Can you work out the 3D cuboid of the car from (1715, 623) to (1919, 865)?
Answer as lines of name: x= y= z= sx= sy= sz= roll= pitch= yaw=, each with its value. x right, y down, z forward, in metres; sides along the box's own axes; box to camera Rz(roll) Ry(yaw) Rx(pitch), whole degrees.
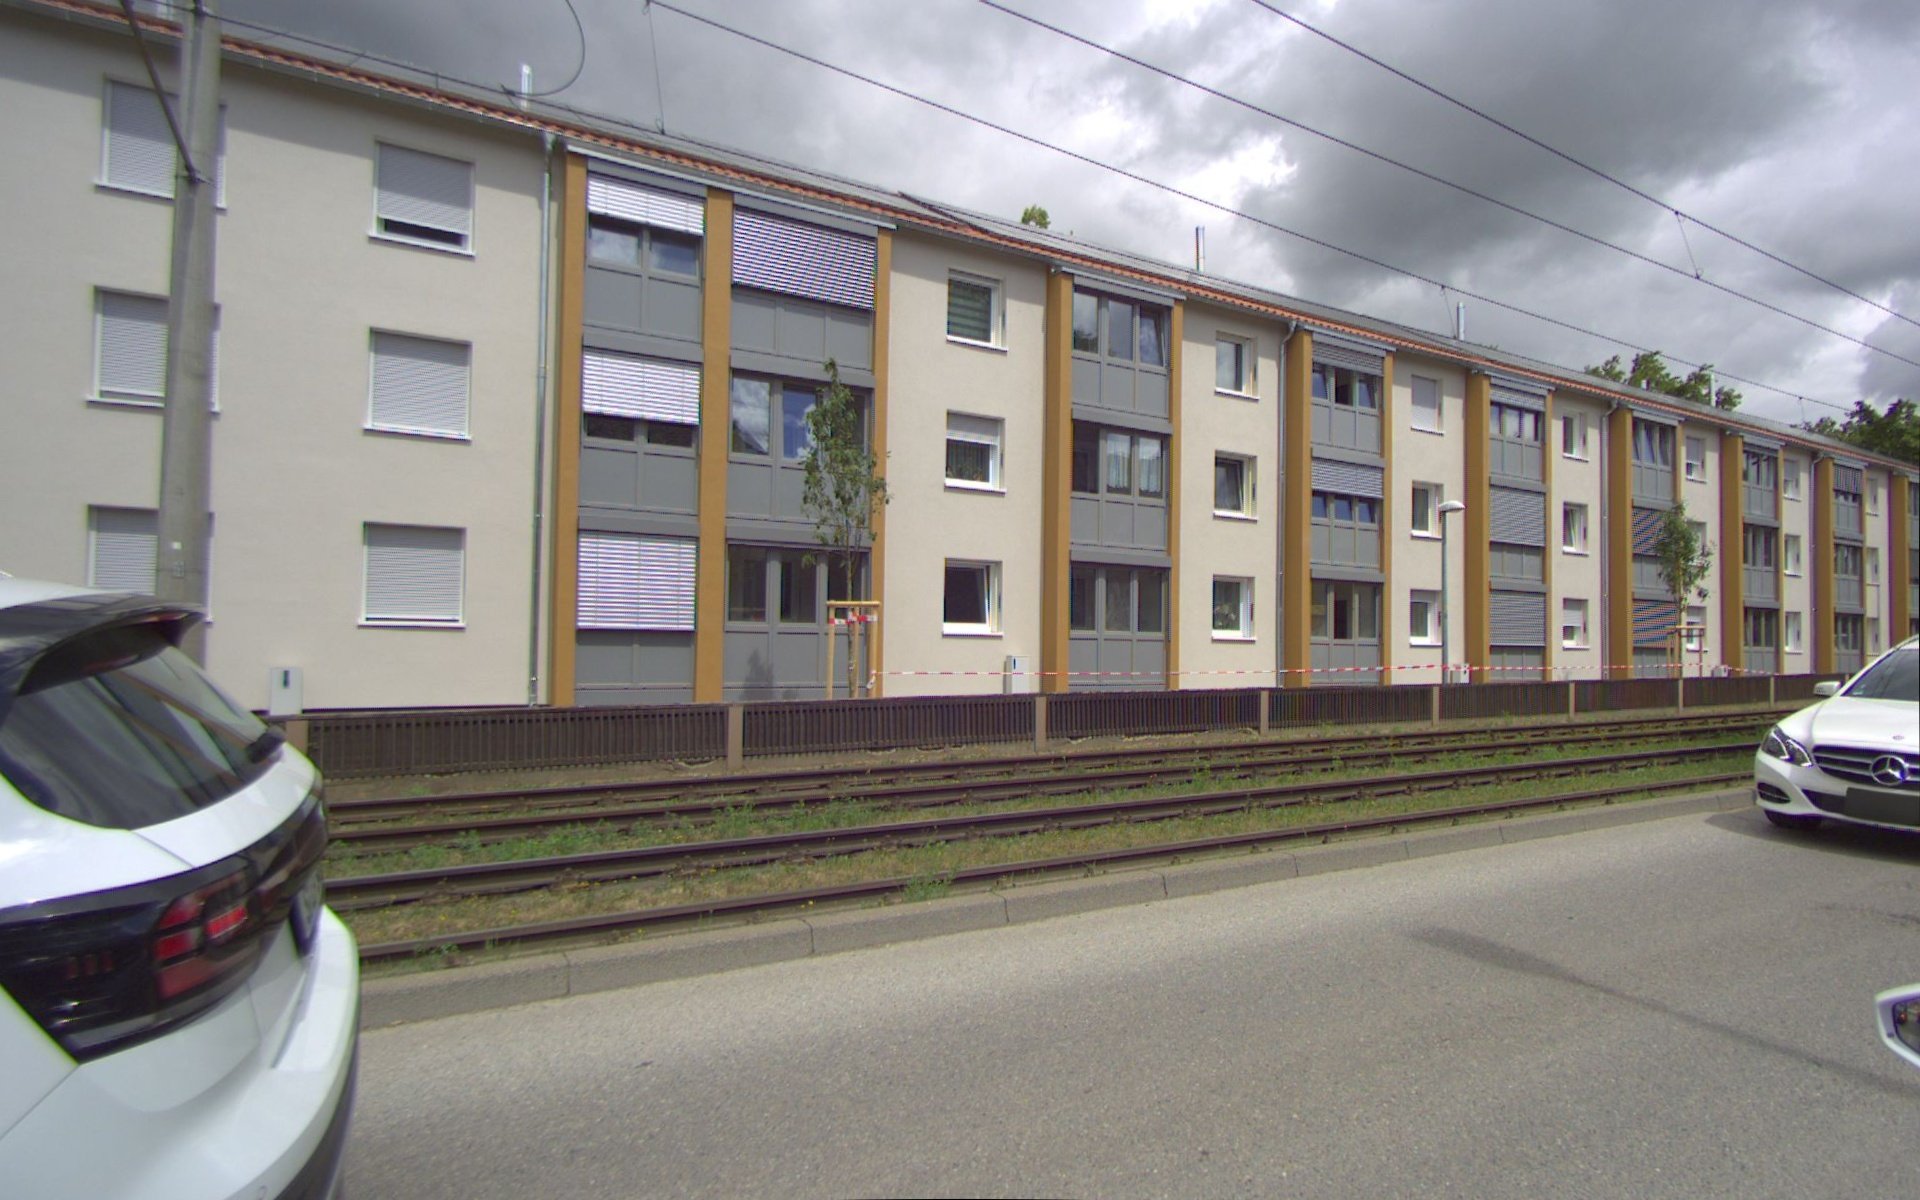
car: x=7.897 y=0.971 z=7.638 sx=4.475 sy=1.500 sz=1.870 roll=1 pitch=0 yaw=-30

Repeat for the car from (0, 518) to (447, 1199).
car: x=-2.835 y=0.654 z=1.219 sx=3.870 sy=1.573 sz=1.710 roll=2 pitch=-1 yaw=-29
